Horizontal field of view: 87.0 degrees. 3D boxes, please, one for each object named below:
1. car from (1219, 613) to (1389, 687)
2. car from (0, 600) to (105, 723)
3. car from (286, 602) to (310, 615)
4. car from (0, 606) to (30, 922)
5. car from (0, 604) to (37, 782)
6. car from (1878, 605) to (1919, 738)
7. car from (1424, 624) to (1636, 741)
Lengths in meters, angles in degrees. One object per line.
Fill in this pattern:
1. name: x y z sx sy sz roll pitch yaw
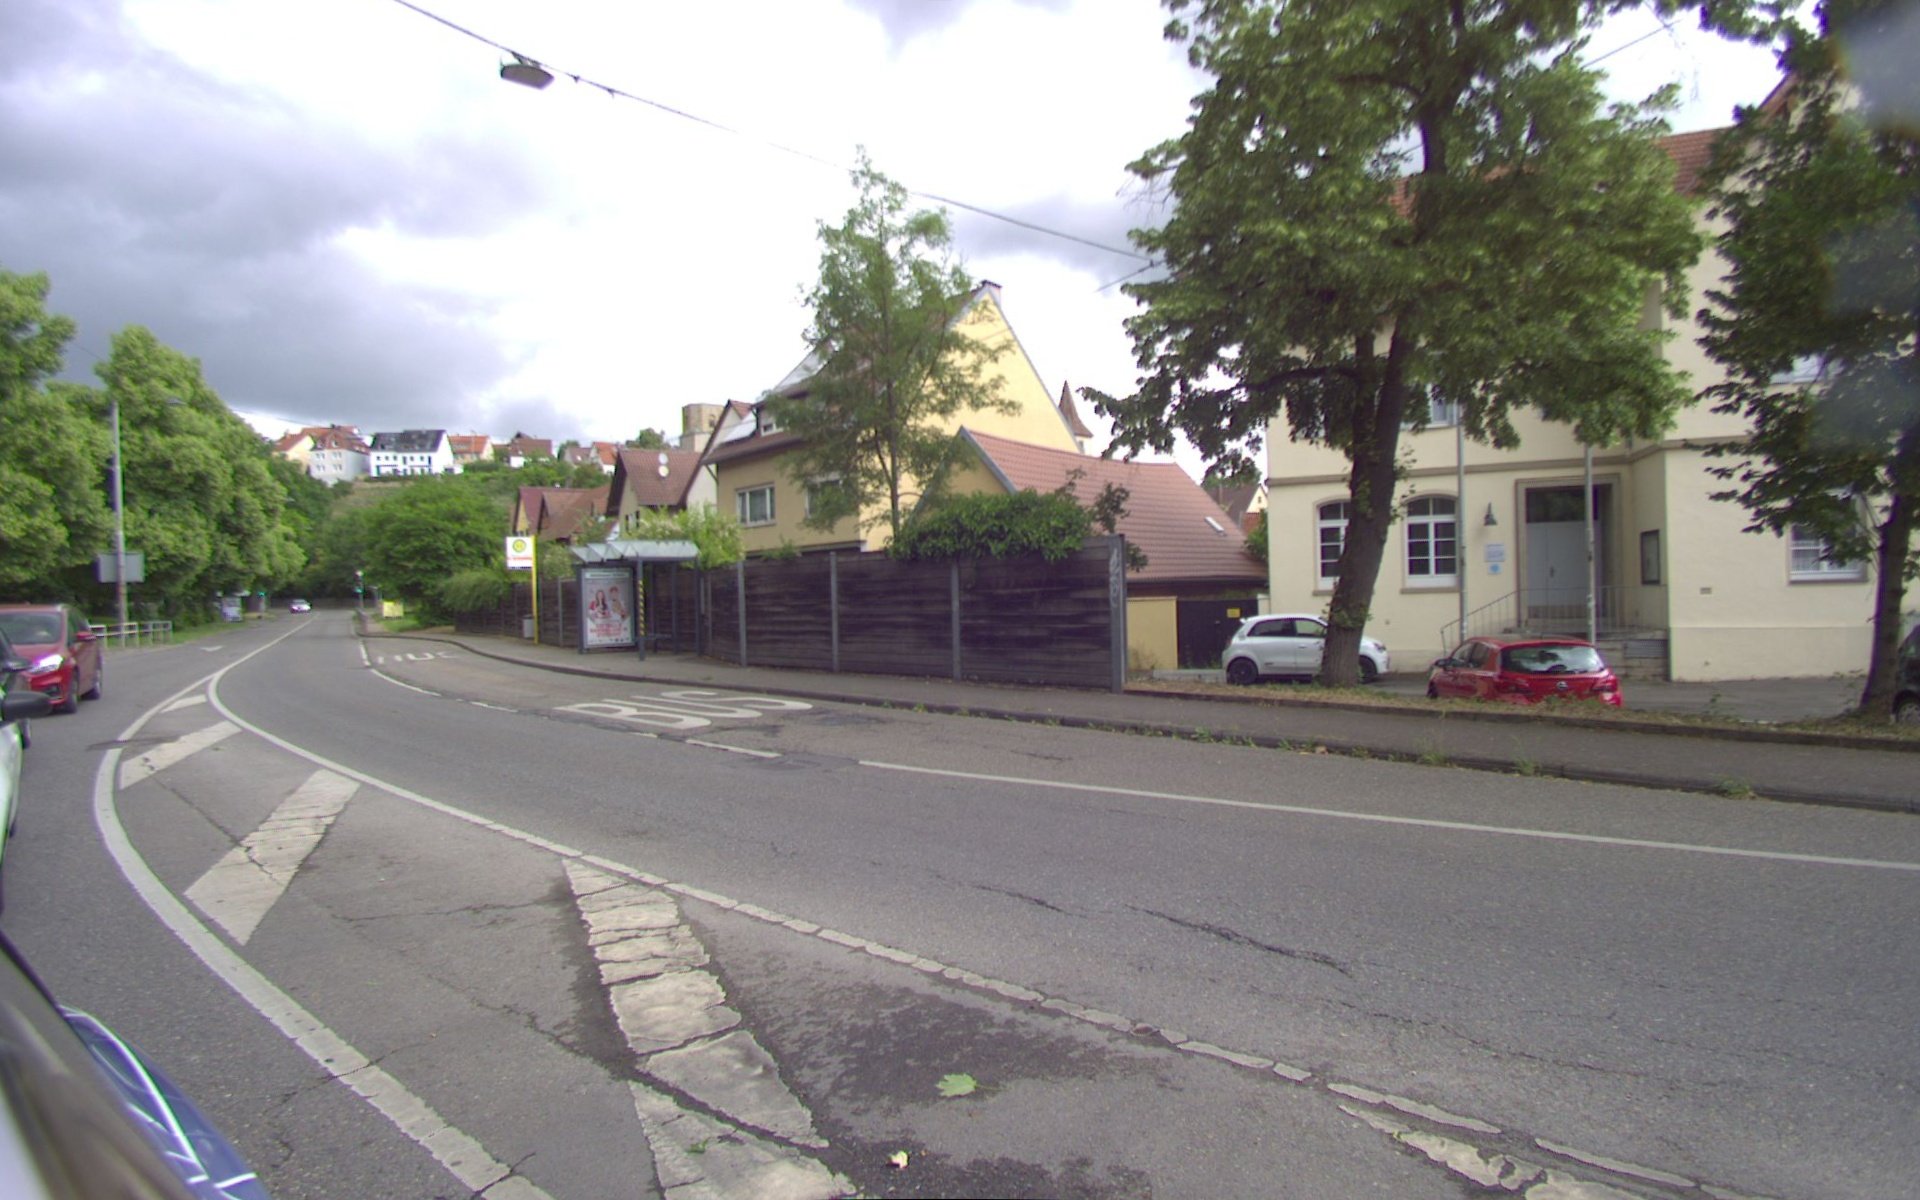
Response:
1. car: 7.747 1.106 22.926 3.487 1.528 1.581 -1 0 20
2. car: -14.535 0.876 15.536 1.799 1.685 4.068 -1 0 -36
3. car: -83.246 1.078 127.228 1.820 1.652 4.003 -1 0 -44
4. car: -6.032 0.814 5.278 1.594 1.525 3.610 -1 0 -41
5. car: -10.225 0.851 9.857 1.699 1.559 3.787 -1 0 -41
6. car: 12.699 0.887 11.587 1.586 1.644 3.093 -1 0 2
7. car: 8.125 1.102 14.770 1.590 1.389 3.544 -1 0 10
